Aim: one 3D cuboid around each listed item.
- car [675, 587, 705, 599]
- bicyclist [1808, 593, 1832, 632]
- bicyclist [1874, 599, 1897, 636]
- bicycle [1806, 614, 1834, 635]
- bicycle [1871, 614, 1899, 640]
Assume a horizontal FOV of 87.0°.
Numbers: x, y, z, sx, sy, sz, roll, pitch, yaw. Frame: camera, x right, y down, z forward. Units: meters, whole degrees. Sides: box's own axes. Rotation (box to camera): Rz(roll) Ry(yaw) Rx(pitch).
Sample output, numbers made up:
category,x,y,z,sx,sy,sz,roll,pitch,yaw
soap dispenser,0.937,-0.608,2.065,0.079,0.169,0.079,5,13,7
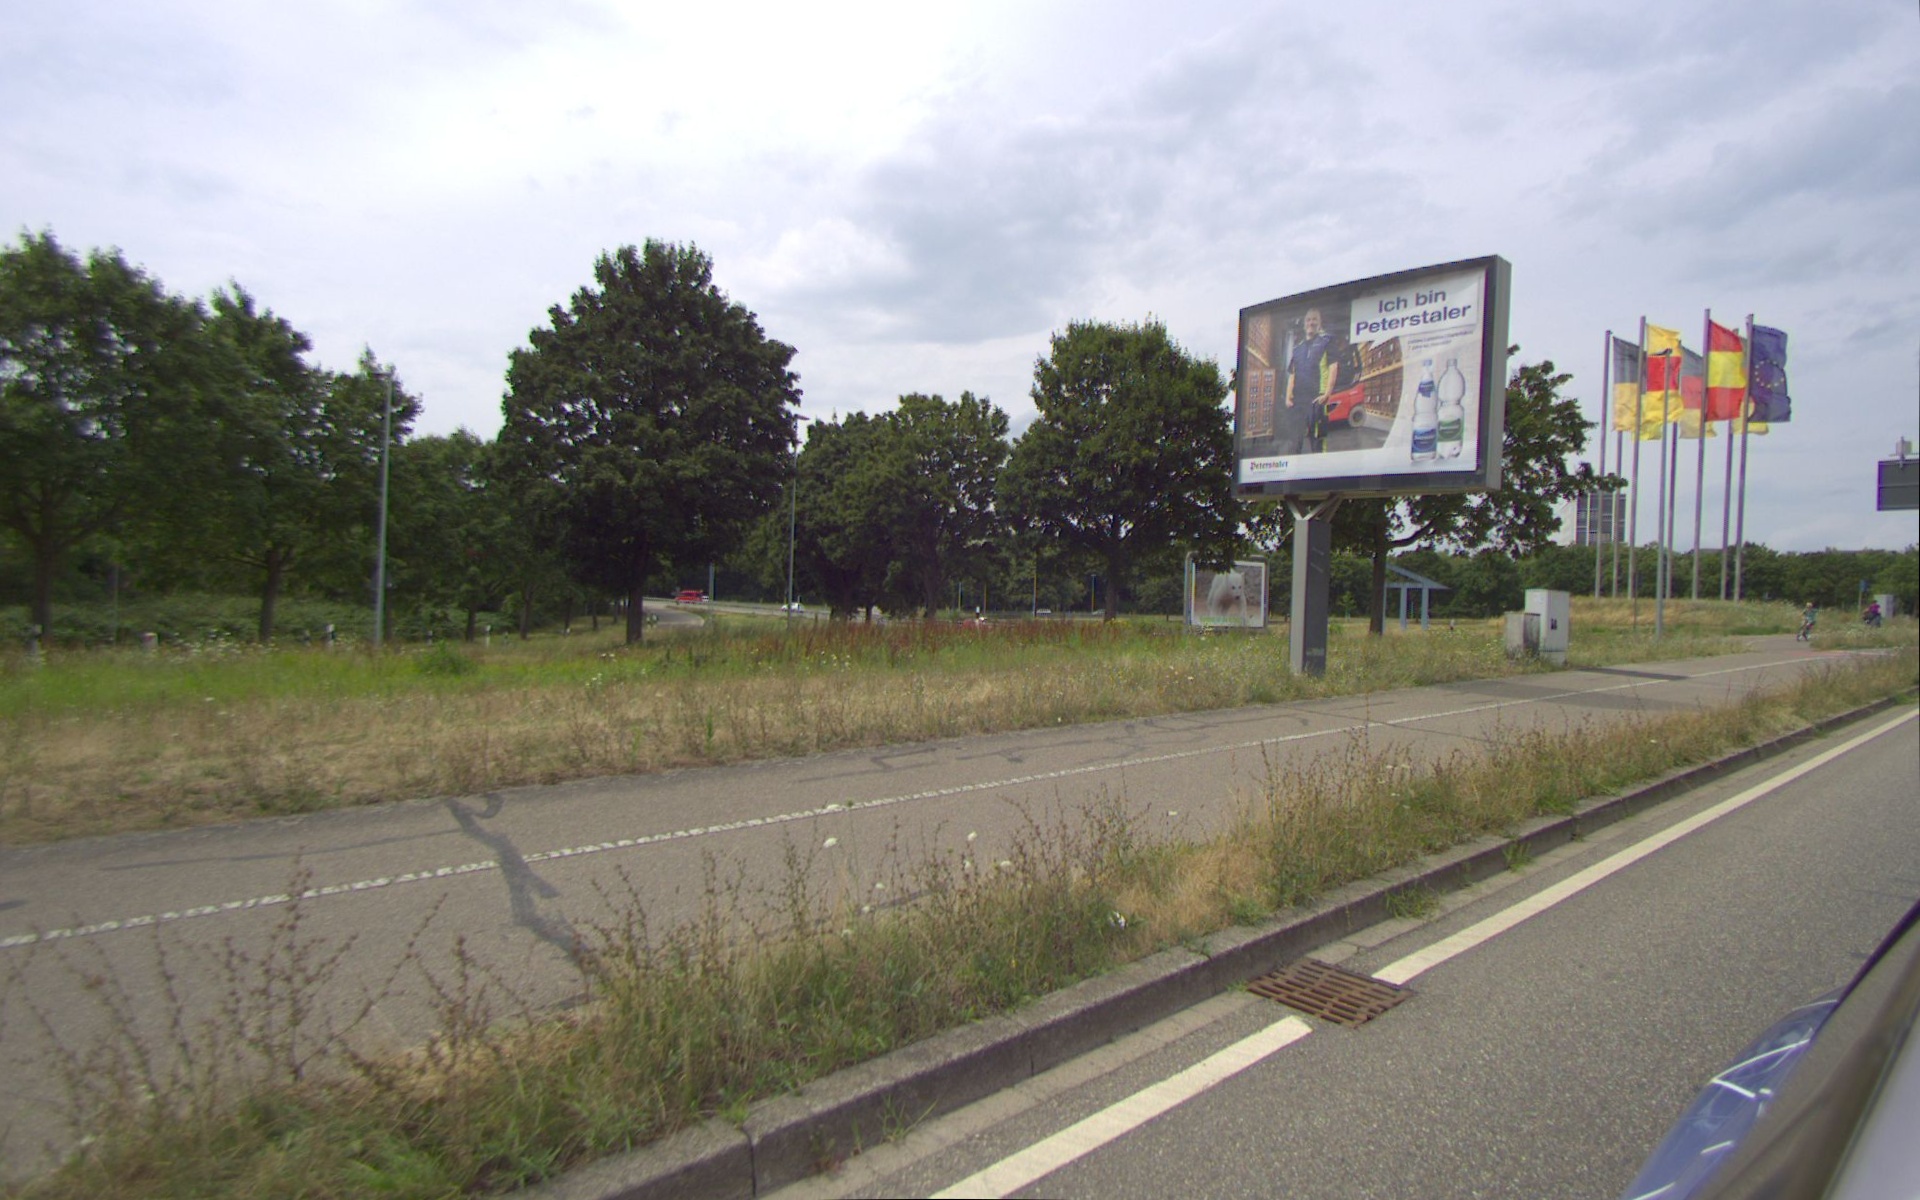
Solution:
category,x,y,z,sx,sy,sz,roll,pitch,yaw
car,-48.944,-1.206,183.692,5.427,2.039,1.979,2,0,30
bicyclist,37.864,0.555,44.545,0.657,1.686,0.623,2,2,-41
bicyclist,45.247,0.869,49.463,0.974,1.777,0.704,2,0,-41
bicycle,37.875,1.074,44.558,2.117,0.899,0.624,0,1,-42
bicycle,45.183,1.320,49.423,2.418,1.207,0.695,1,1,-41
